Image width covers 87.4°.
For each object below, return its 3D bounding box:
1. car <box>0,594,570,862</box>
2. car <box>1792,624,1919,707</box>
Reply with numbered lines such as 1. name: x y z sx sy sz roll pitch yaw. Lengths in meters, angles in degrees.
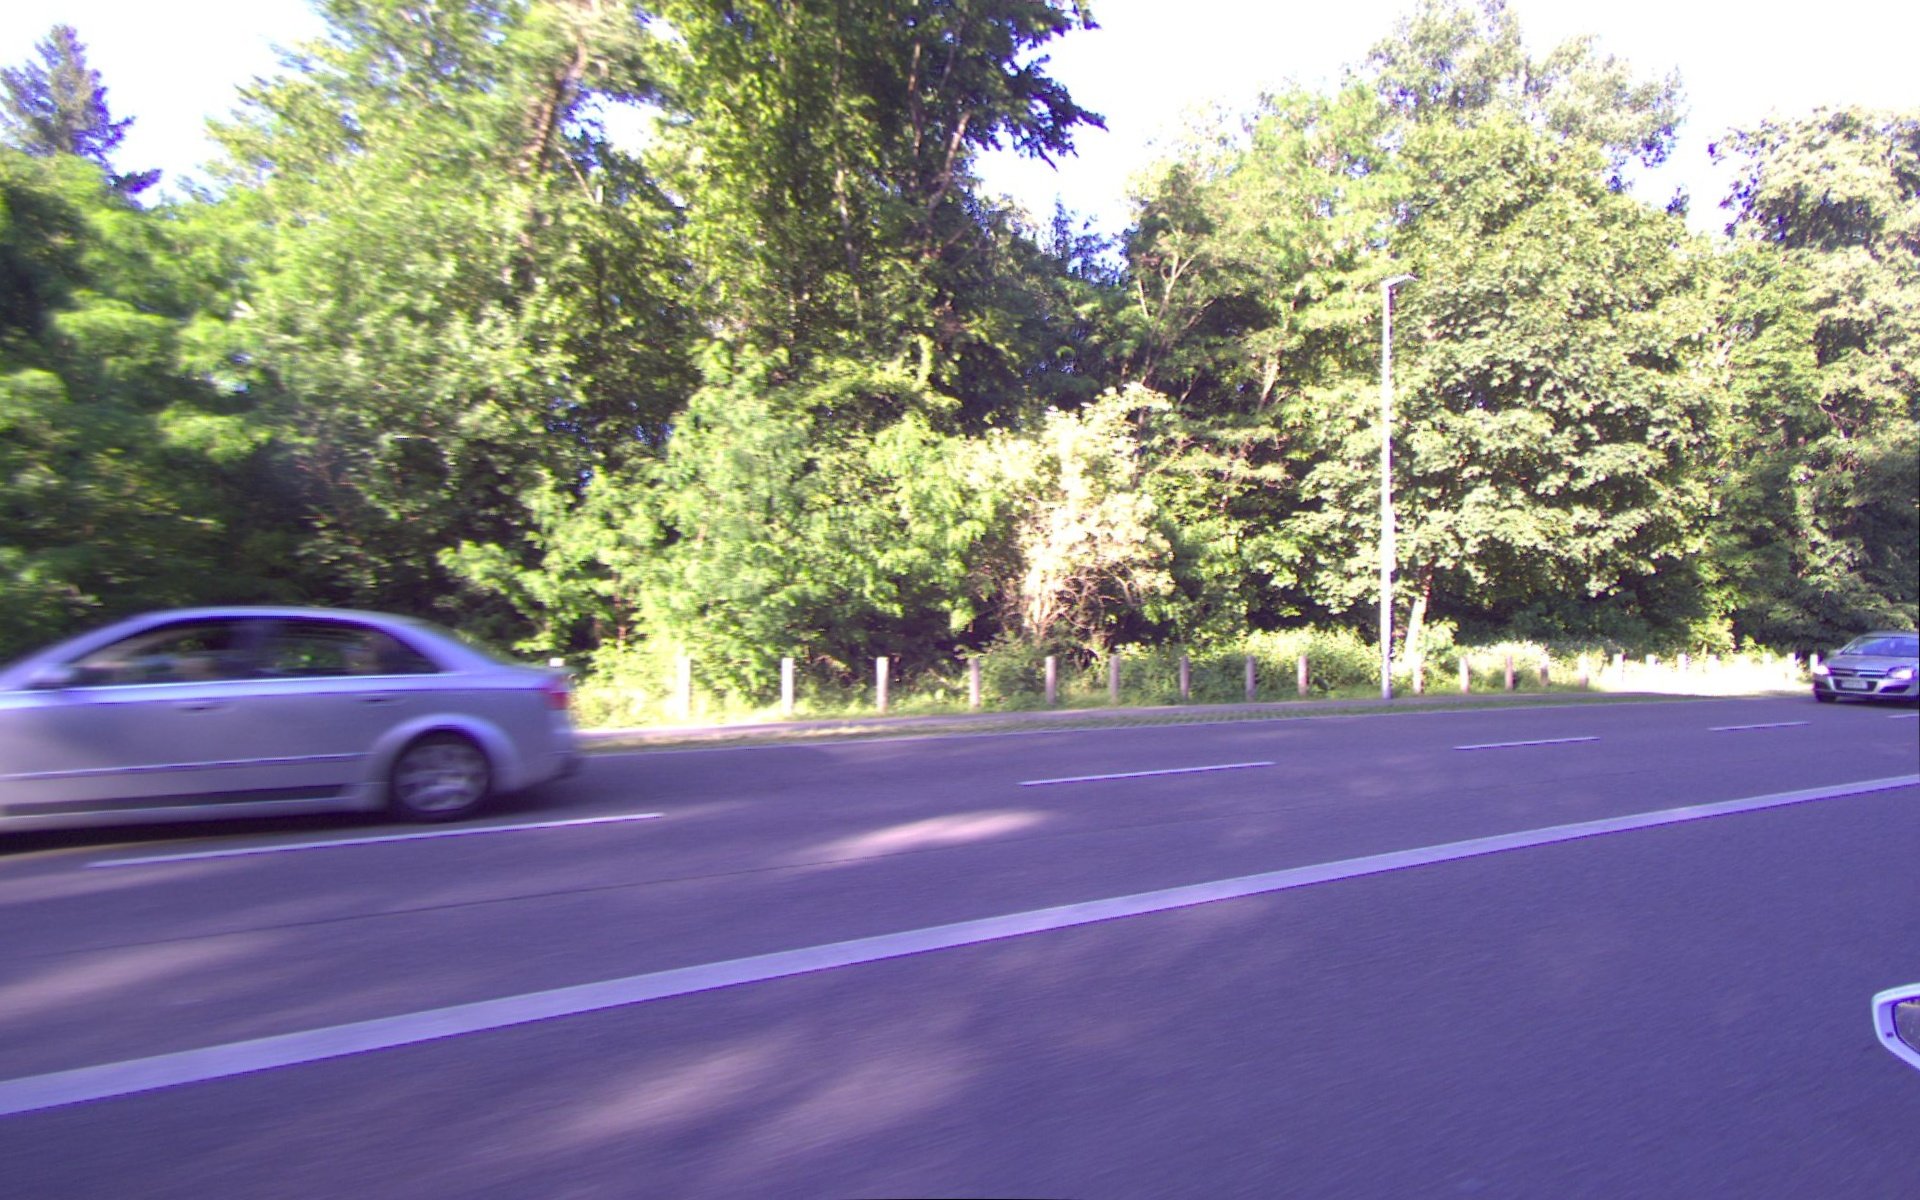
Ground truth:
1. car: -4.848 0.692 6.524 4.116 1.427 1.771 0 -1 -30
2. car: 19.071 1.289 20.467 4.220 1.483 1.773 1 0 -28
